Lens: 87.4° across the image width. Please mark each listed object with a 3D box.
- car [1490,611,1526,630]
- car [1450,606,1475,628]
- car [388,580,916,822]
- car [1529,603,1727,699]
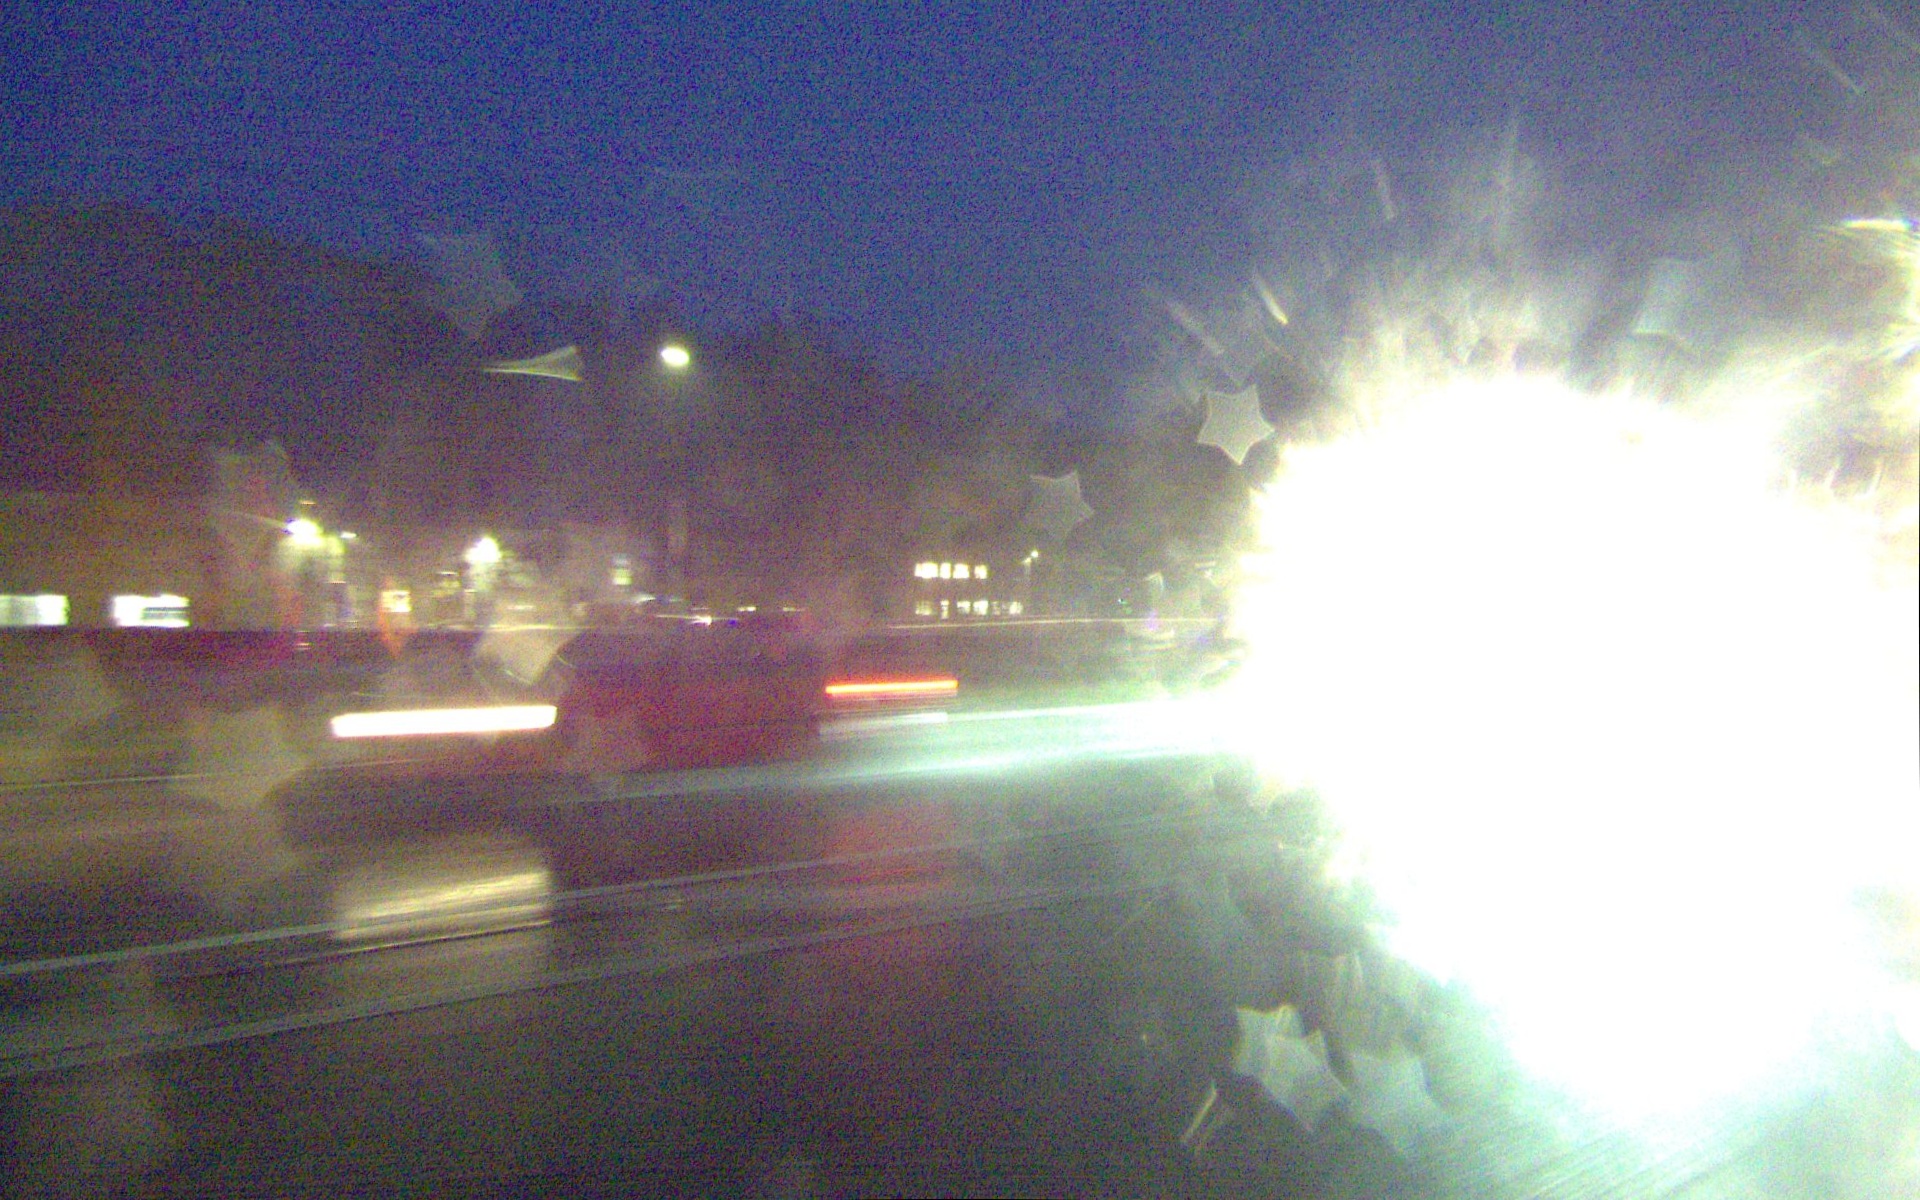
[{"bbox_3d":[46.399,1.727,85.053,1.703,1.539,3.977,2,1,43],"label":"car"},{"bbox_3d":[37.818,1.244,75.602,1.488,1.538,4.367,3,1,28],"label":"car"},{"bbox_3d":[-2.561,0.730,8.678,3.990,1.609,1.790,2,1,-35],"label":"car"},{"bbox_3d":[13.400,0.963,20.057,4.607,1.663,1.749,1,1,-36],"label":"car"}]
